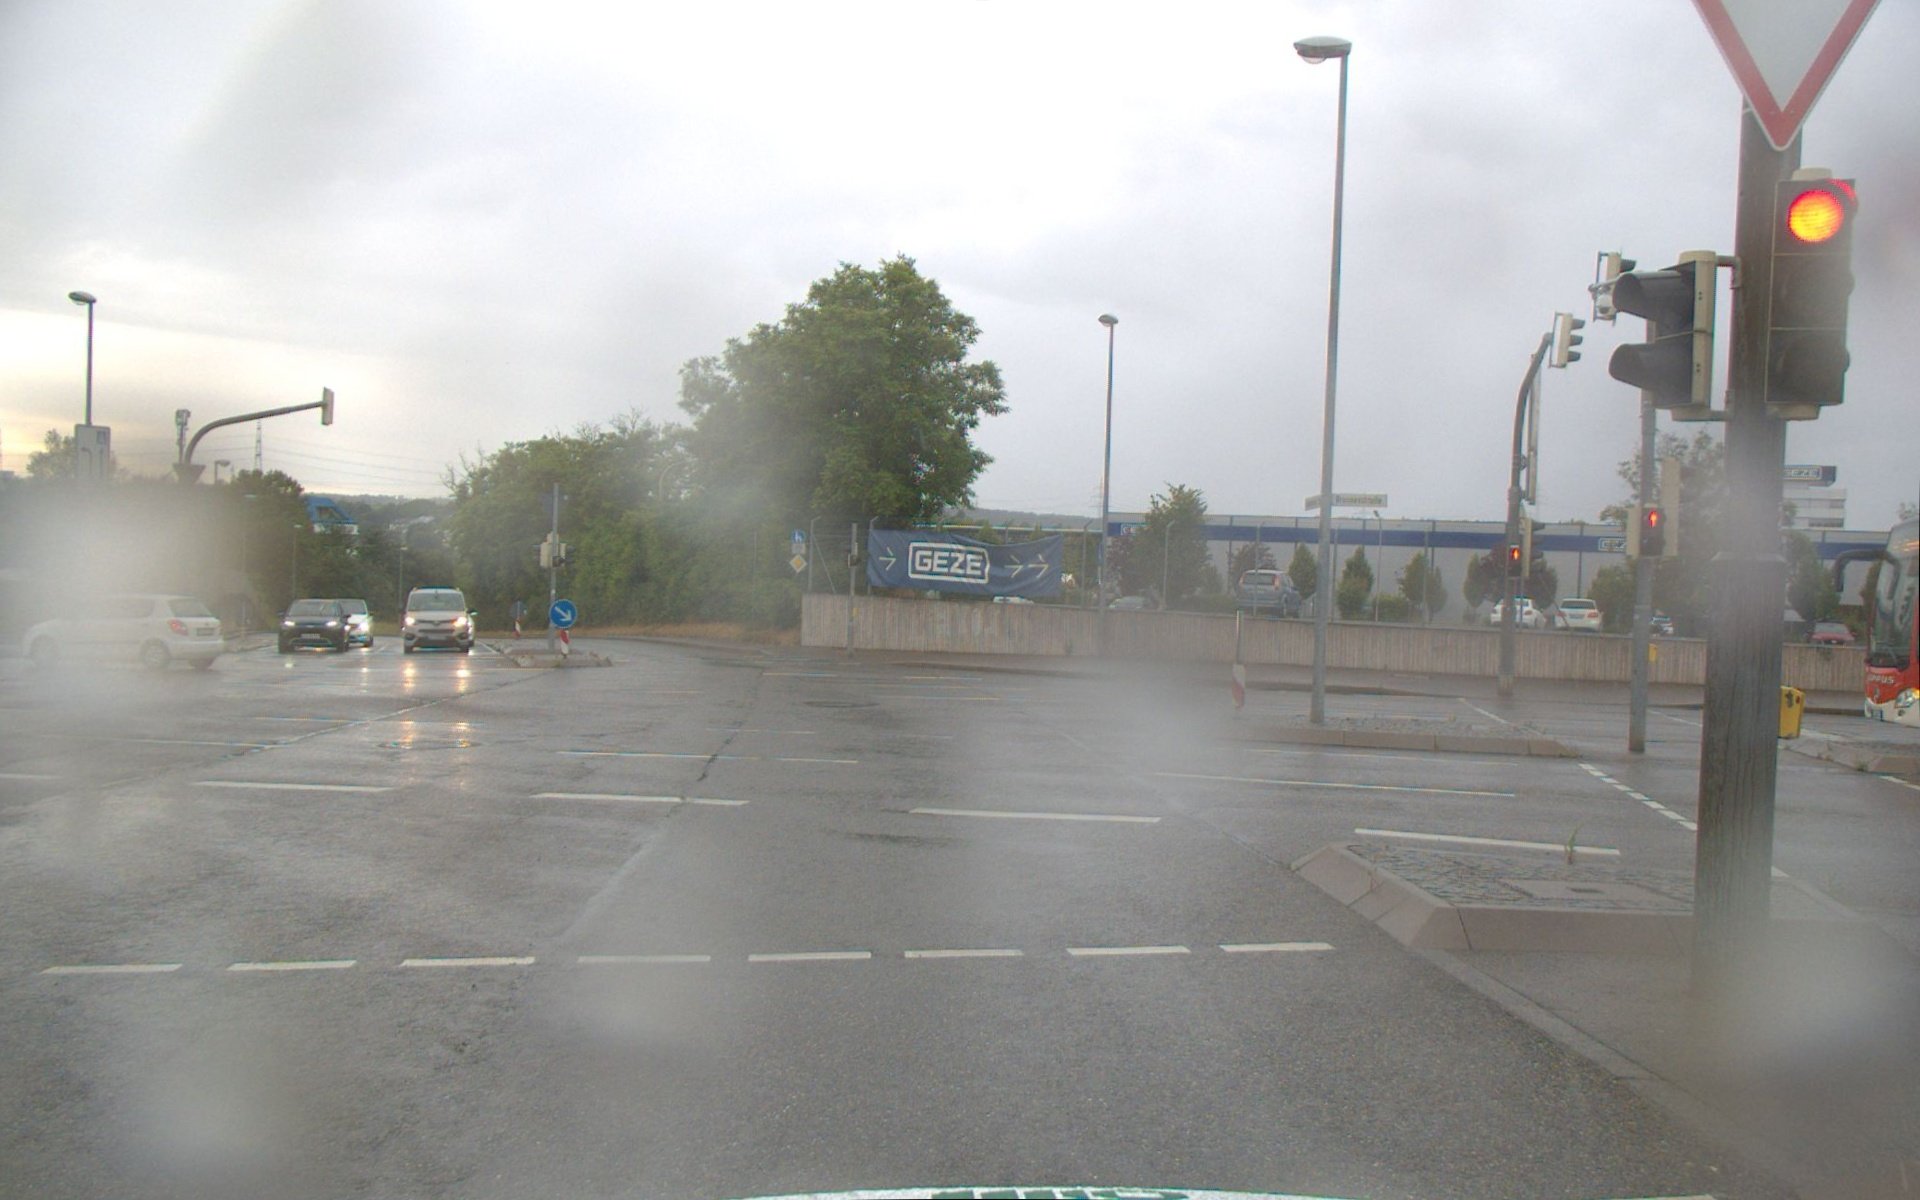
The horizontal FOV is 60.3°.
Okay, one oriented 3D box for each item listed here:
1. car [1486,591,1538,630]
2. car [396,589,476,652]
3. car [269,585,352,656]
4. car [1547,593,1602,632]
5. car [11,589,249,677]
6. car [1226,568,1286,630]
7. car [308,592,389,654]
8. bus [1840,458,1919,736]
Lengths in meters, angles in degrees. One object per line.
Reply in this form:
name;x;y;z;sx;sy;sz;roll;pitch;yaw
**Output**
car;22.948;0.422;68.662;1.952;1.504;4.001;2;0;19
car;-14.928;0.550;47.313;1.961;1.646;3.984;1;0;-15
car;-18.681;0.561;47.681;1.963;1.928;3.979;1;0;-19
car;25.244;0.491;68.074;1.952;1.504;4.001;2;0;19
car;-16.856;0.641;33.690;3.902;1.624;1.959;2;0;9
car;10.383;-0.034;57.856;1.951;2.049;4.003;1;0;11
car;-20.324;0.726;55.140;1.959;1.928;3.987;1;0;-13
bus;17.670;0.229;19.881;12.020;3.379;3.076;3;1;17
